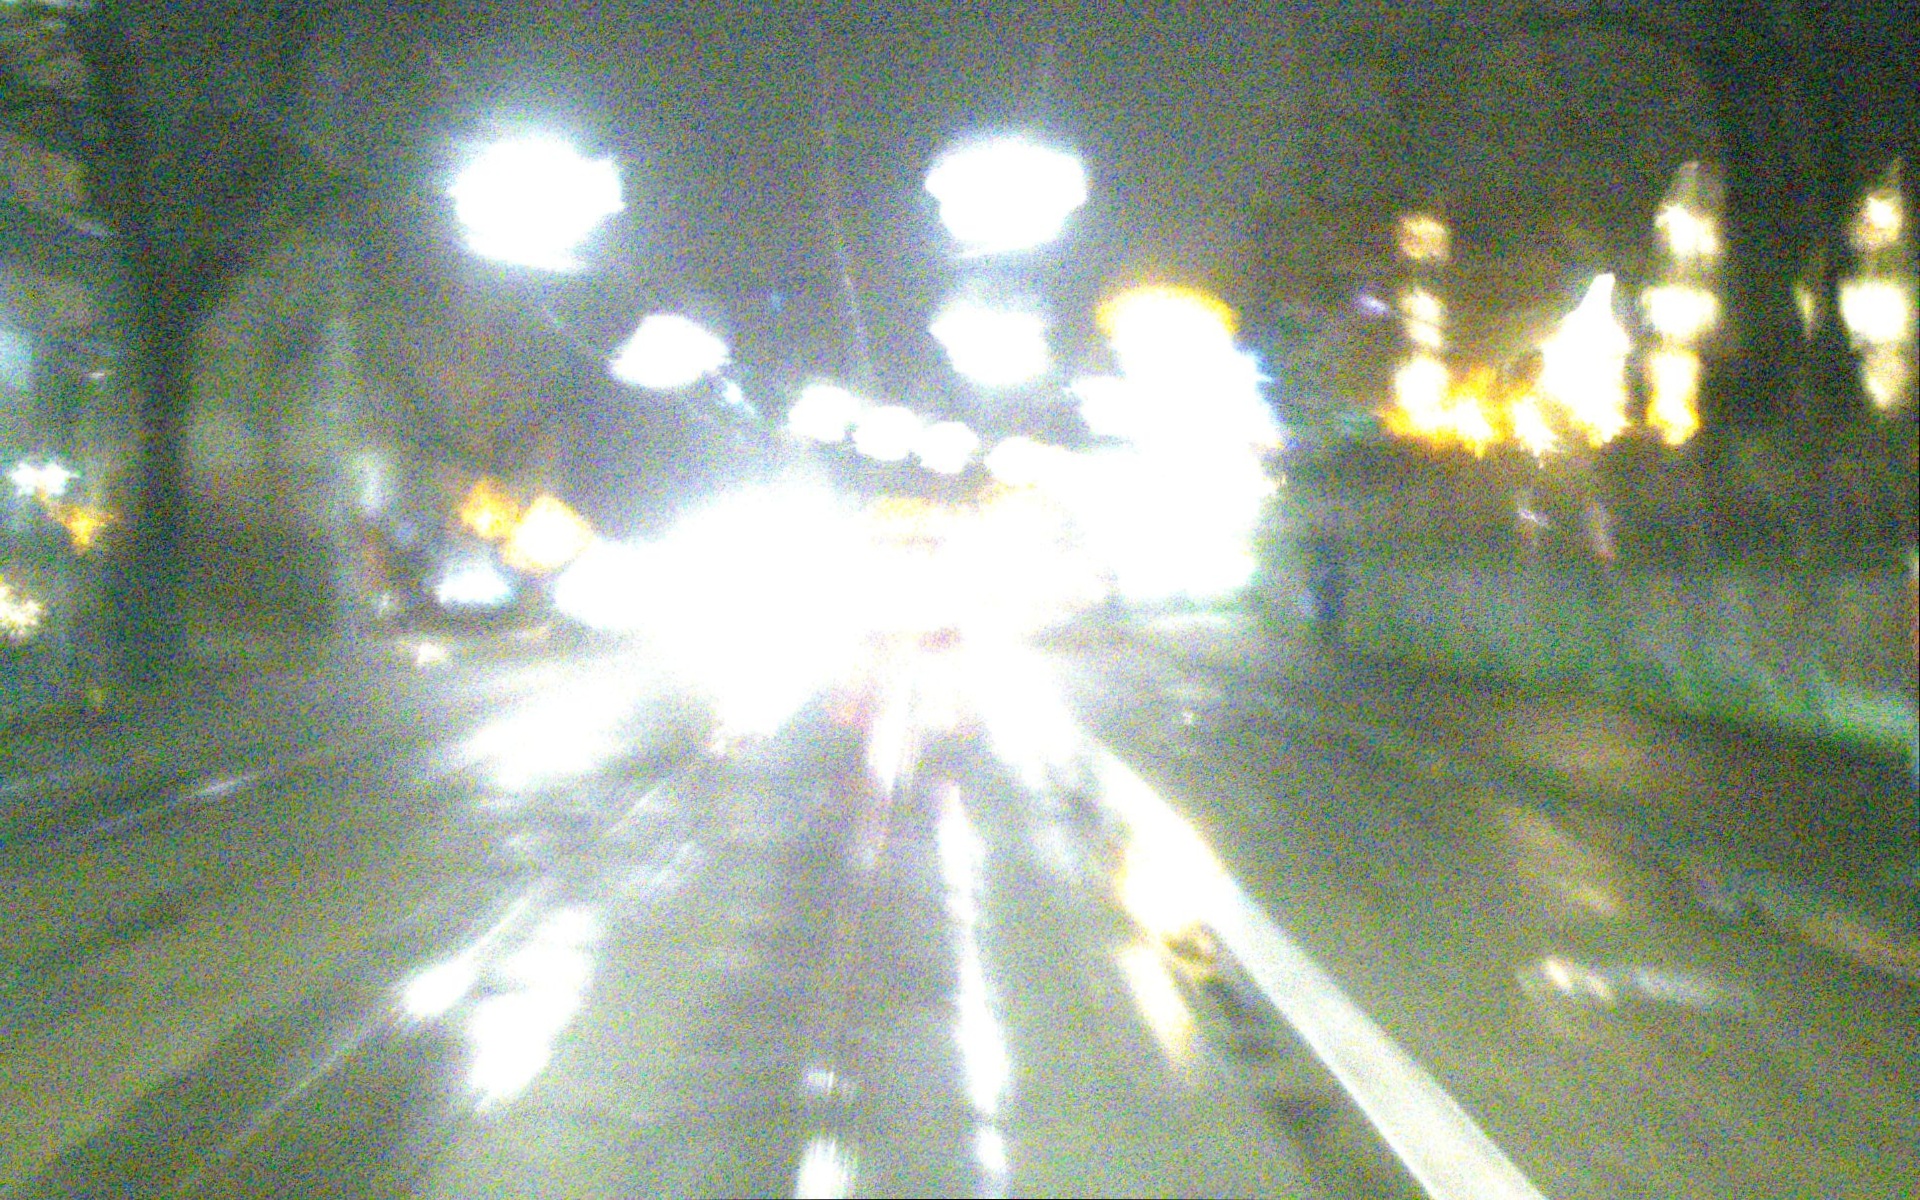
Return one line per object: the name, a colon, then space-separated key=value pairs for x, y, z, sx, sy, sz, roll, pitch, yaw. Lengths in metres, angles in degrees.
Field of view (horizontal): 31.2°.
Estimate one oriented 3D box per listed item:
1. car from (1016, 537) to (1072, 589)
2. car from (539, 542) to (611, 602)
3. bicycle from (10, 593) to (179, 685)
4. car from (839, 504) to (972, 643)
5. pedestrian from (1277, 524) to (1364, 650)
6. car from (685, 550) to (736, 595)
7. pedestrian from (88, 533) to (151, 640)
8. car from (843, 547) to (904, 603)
car: x=3.298 y=-1.441 z=135.468 sx=1.993 sy=2.007 sz=4.000 roll=0 pitch=1 yaw=-1
car: x=-13.269 y=-0.978 z=118.611 sx=1.993 sy=2.007 sz=4.000 roll=0 pitch=1 yaw=0
bicycle: x=-10.305 y=0.460 z=40.953 sx=1.853 sy=1.074 sz=0.628 roll=0 pitch=0 yaw=0
car: x=-0.983 y=-0.469 z=60.545 sx=2.244 sy=2.353 sz=4.394 roll=0 pitch=1 yaw=-2
pedestrian: x=4.930 y=-0.181 z=47.035 sx=0.939 sy=1.658 sz=0.994 roll=-3 pitch=1 yaw=-5
car: x=-9.882 y=-1.090 z=136.359 sx=1.993 sy=1.718 sz=4.077 roll=0 pitch=1 yaw=-4
pedestrian: x=-13.389 y=-0.214 z=54.773 sx=0.786 sy=1.681 sz=0.883 roll=0 pitch=0 yaw=-1
car: x=-2.891 y=-0.837 z=114.710 sx=1.993 sy=1.809 sz=4.000 roll=0 pitch=1 yaw=-1
